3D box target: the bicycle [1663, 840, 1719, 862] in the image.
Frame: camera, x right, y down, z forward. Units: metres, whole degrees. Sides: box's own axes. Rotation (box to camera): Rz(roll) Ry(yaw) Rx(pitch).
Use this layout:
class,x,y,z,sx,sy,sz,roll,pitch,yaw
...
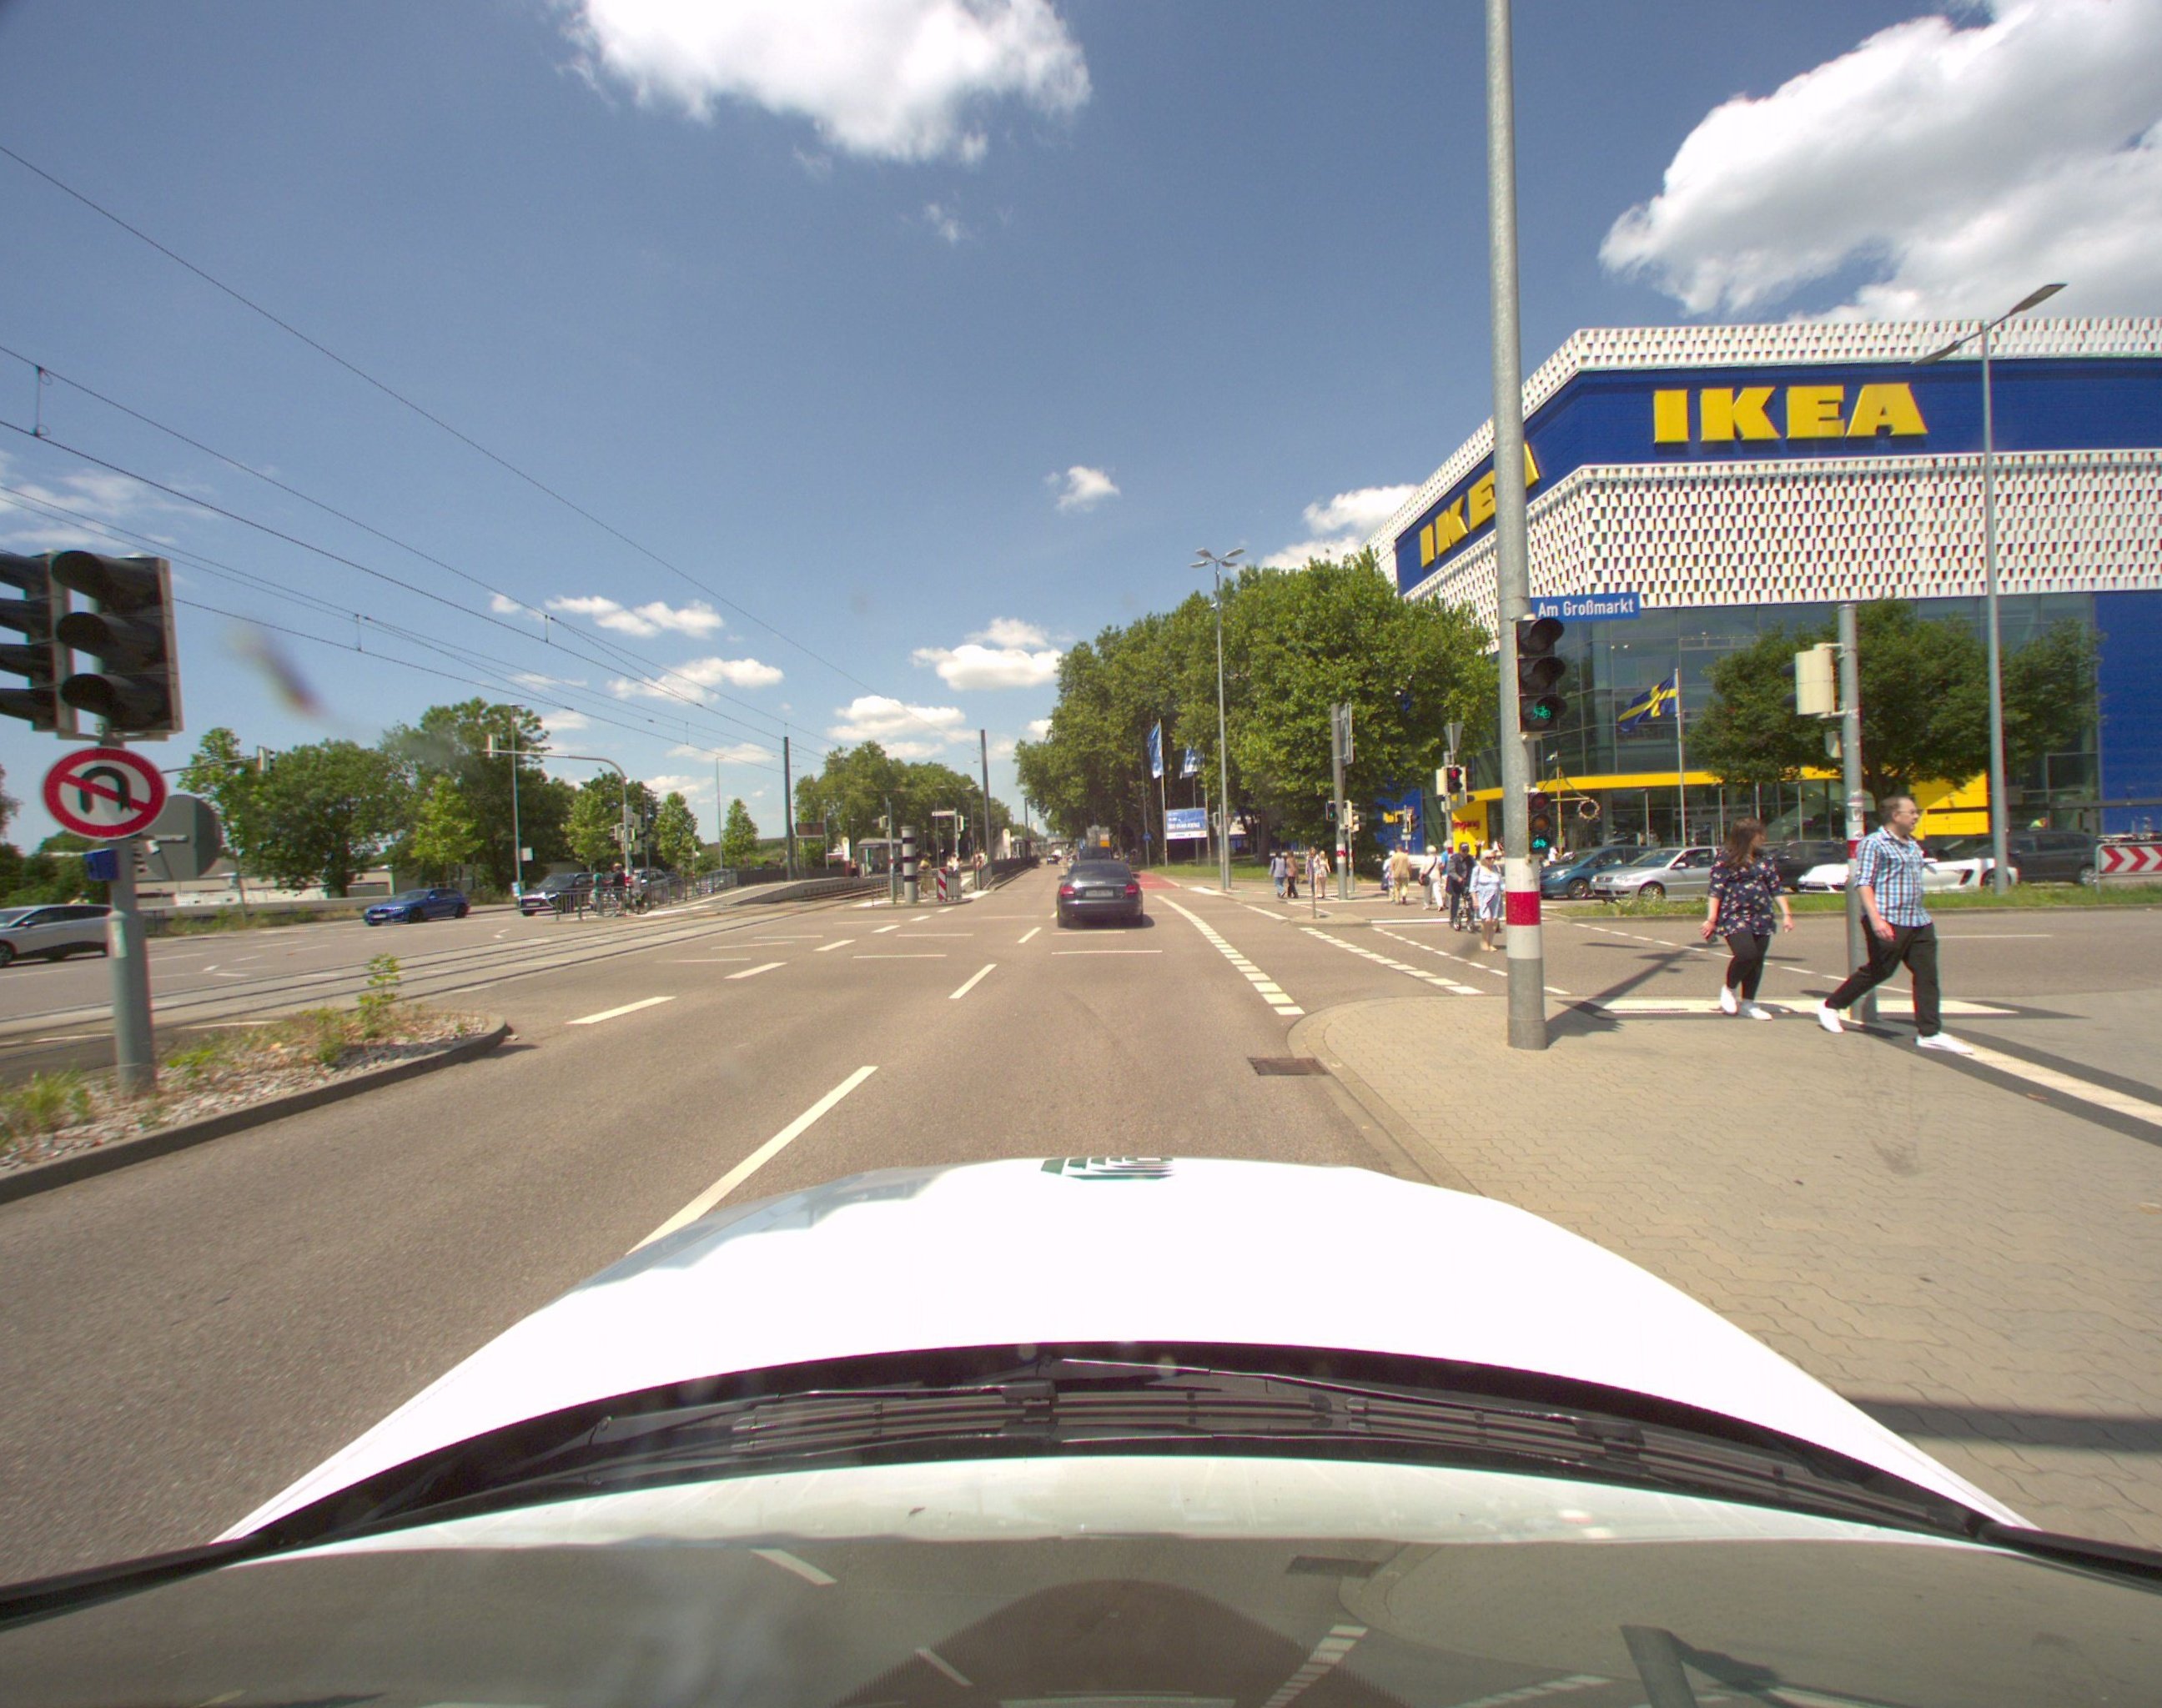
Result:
class,x,y,z,sx,sy,sz,roll,pitch,yaw
bicycle,32.571,-0.142,43.528,0.801,1.145,2.421,-1,0,-14

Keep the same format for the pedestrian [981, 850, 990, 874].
class,x,y,z,sx,sy,sz,roll,pitch,yaw
pedestrian,-6.403,0.537,54.772,0.496,1.577,0.556,-2,0,-3

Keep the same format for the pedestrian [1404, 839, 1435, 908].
class,x,y,z,sx,sy,sz,roll,pitch,yaw
pedestrian,8.329,0.483,20.065,0.601,1.638,0.868,-2,-2,18

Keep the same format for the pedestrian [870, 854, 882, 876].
class,x,y,z,sx,sy,sz,roll,pitch,yaw
pedestrian,-16.836,0.903,66.834,0.729,1.729,0.582,-2,0,36

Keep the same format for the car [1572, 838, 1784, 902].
class,x,y,z,sx,sy,sz,roll,pitch,yaw
car,14.318,0.360,19.683,3.812,1.397,1.803,-1,0,-1

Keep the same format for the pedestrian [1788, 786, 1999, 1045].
class,x,y,z,sx,sy,sz,roll,pitch,yaw
pedestrian,6.213,0.447,6.285,0.800,1.865,0.798,-1,0,3

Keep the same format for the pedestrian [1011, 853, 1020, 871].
class,x,y,z,sx,sy,sz,roll,pitch,yaw
pedestrian,-6.155,0.706,76.617,0.731,1.665,0.741,-2,0,-2

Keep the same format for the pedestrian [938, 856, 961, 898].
class,x,y,z,sx,sy,sz,roll,pitch,yaw
pedestrian,-5.076,0.871,31.466,0.784,1.572,0.763,-1,0,-5

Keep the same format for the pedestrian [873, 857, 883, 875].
class,x,y,z,sx,sy,sz,roll,pitch,yaw
pedestrian,-17.196,1.027,69.036,0.575,1.533,0.639,-2,0,-1

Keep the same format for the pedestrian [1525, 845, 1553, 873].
class,x,y,z,sx,sy,sz,roll,pitch,yaw
pedestrian,22.241,0.247,39.536,0.849,1.332,0.795,-1,0,-8

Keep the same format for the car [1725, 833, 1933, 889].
class,x,y,z,sx,sy,sz,roll,pitch,yaw
car,21.427,0.197,23.441,4.389,1.443,1.852,-1,0,-2

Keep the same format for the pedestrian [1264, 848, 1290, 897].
class,x,y,z,sx,sy,sz,roll,pitch,yaw
pedestrian,6.546,0.611,27.219,0.759,1.606,0.900,-1,0,16

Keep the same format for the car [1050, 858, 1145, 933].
class,x,y,z,sx,sy,sz,roll,pitch,yaw
car,0.476,0.851,18.288,1.833,1.484,4.005,-1,-1,5

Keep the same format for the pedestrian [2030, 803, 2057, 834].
class,x,y,z,sx,sy,sz,roll,pitch,yaw
pedestrian,51.255,-1.874,43.375,0.765,1.586,0.579,-2,0,-7

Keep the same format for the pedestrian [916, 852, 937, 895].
class,x,y,z,sx,sy,sz,roll,pitch,yaw
pedestrian,-6.194,0.766,32.635,0.731,1.673,0.677,-1,0,-5

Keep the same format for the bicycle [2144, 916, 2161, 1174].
class,x,y,z,sx,sy,sz,roll,pitch,yaw
bicycle,5.799,0.875,3.209,0.834,1.162,1.860,0,-1,-31

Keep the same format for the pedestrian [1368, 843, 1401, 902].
class,x,y,z,sx,sy,sz,roll,pitch,yaw
pedestrian,8.773,0.536,23.599,0.789,1.659,0.856,-1,0,16

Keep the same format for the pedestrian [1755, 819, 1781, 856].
class,x,y,z,sx,sy,sz,roll,pitch,yaw
pedestrian,38.644,-0.919,45.819,0.793,2.013,0.734,-2,0,6

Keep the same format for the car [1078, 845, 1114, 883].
class,x,y,z,sx,sy,sz,roll,pitch,yaw
car,0.817,0.517,44.276,1.842,1.959,4.144,-1,0,0

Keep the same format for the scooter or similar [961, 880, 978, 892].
class,x,y,z,sx,sy,sz,roll,pitch,yaw
scooter or similar,-4.902,1.397,35.789,0.725,0.506,0.456,-2,0,-5

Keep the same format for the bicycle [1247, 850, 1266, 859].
class,x,y,z,sx,sy,sz,roll,pitch,yaw
bicycle,24.887,0.075,115.700,2.542,1.110,0.757,-1,0,-7

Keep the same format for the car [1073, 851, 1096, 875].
class,x,y,z,sx,sy,sz,roll,pitch,yaw
car,0.272,0.754,68.444,1.842,1.959,4.144,-1,0,0

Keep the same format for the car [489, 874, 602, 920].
class,x,y,z,sx,sy,sz,roll,pitch,yaw
car,-22.048,1.736,33.758,1.987,1.629,3.999,-2,0,0

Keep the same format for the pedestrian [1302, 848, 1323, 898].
class,x,y,z,sx,sy,sz,roll,pitch,yaw
pedestrian,7.862,0.649,27.664,0.525,1.666,0.640,-1,0,3

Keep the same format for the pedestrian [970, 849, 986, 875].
class,x,y,z,sx,sy,sz,roll,pitch,yaw
pedestrian,-6.655,0.502,52.846,0.888,1.605,0.923,-2,0,-3

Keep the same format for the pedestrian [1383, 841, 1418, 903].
class,x,y,z,sx,sy,sz,roll,pitch,yaw
pedestrian,8.810,0.486,22.478,0.789,1.659,0.856,-1,0,16

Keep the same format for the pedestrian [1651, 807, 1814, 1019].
class,x,y,z,sx,sy,sz,roll,pitch,yaw
pedestrian,5.717,0.495,7.201,0.799,1.759,0.799,-1,0,7

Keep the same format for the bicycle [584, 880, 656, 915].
class,x,y,z,sx,sy,sz,roll,pitch,yaw
bicycle,-15.562,1.463,27.514,1.976,1.101,0.760,-1,0,-17

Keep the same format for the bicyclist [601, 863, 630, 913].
class,x,y,z,sx,sy,sz,roll,pitch,yaw
bicyclist,-15.501,1.112,27.151,0.666,1.615,0.729,-1,0,-17

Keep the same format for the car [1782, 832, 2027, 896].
class,x,y,z,sx,sy,sz,roll,pitch,yaw
car,20.008,0.219,19.919,4.206,1.398,1.803,-1,0,-1

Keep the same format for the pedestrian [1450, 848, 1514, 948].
class,x,y,z,sx,sy,sz,roll,pitch,yaw
pedestrian,6.085,0.648,12.397,0.587,1.476,0.806,0,0,2

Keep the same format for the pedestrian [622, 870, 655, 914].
class,x,y,z,sx,sy,sz,roll,pitch,yaw
pedestrian,-16.124,1.363,29.680,0.760,1.548,0.763,-2,0,-4

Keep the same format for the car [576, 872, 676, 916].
class,x,y,z,sx,sy,sz,roll,pitch,yaw
car,-19.267,1.642,34.718,1.987,1.629,3.999,-1,0,0

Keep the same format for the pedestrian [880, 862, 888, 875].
class,x,y,z,sx,sy,sz,roll,pitch,yaw
pedestrian,-17.153,1.261,70.917,0.575,1.094,0.639,-2,0,-1

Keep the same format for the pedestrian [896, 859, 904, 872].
class,x,y,z,sx,sy,sz,roll,pitch,yaw
pedestrian,-17.483,1.075,78.500,0.575,1.190,0.639,-2,0,-1

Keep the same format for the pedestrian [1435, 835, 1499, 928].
class,x,y,z,sx,sy,sz,roll,pitch,yaw
pedestrian,7.215,0.500,15.251,0.778,1.672,0.948,-1,0,6

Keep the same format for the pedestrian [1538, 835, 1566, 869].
class,x,y,z,sx,sy,sz,roll,pitch,yaw
pedestrian,22.361,-0.088,38.704,0.917,1.586,0.632,-2,0,-7

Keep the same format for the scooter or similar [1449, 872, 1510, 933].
class,x,y,z,sx,sy,sz,roll,pitch,yaw
scooter or similar,7.158,0.852,14.663,0.686,1.031,0.864,-1,0,5

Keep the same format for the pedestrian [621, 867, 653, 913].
class,x,y,z,sx,sy,sz,roll,pitch,yaw
pedestrian,-16.817,1.352,30.868,0.760,1.672,0.763,-2,0,-4

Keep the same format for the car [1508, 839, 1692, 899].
class,x,y,z,sx,sy,sz,roll,pitch,yaw
car,14.582,0.411,23.035,3.978,1.555,1.998,-1,0,-3

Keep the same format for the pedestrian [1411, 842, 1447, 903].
class,x,y,z,sx,sy,sz,roll,pitch,yaw
pedestrian,9.771,0.507,22.913,0.789,1.659,0.856,-1,0,16

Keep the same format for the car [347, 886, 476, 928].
class,x,y,z,sx,sy,sz,roll,pitch,yaw
car,-28.456,2.195,34.809,1.988,1.445,4.346,-1,0,-2

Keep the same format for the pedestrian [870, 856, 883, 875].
class,x,y,z,sx,sy,sz,roll,pitch,yaw
pedestrian,-17.177,0.964,68.371,0.817,1.638,0.582,-2,0,36

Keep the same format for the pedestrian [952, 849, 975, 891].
class,x,y,z,sx,sy,sz,roll,pitch,yaw
pedestrian,-5.125,0.691,35.572,0.861,1.802,0.882,-1,0,-5

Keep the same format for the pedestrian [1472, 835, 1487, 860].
class,x,y,z,sx,sy,sz,roll,pitch,yaw
pedestrian,28.143,-0.432,57.523,0.775,1.735,0.743,-2,0,11

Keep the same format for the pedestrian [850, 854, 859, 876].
class,x,y,z,sx,sy,sz,roll,pitch,yaw
pedestrian,-17.060,0.809,61.345,0.557,1.638,0.804,-2,0,-9

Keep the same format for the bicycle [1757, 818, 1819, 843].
class,x,y,z,sx,sy,sz,roll,pitch,yaw
bicycle,37.489,-1.237,43.231,0.801,1.199,2.421,-2,0,-14

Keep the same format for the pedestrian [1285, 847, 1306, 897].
class,x,y,z,sx,sy,sz,roll,pitch,yaw
pedestrian,7.324,0.617,27.805,0.618,1.683,0.729,-1,0,16

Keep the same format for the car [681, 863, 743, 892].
class,x,y,z,sx,sy,sz,roll,pitch,yaw
car,-22.746,1.408,50.381,1.987,1.629,3.999,-1,0,0

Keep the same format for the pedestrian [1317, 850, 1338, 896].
class,x,y,z,sx,sy,sz,roll,pitch,yaw
pedestrian,8.499,0.644,28.079,0.525,1.580,0.612,-1,0,3

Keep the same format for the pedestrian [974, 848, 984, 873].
class,x,y,z,sx,sy,sz,roll,pitch,yaw
pedestrian,-7.023,0.447,56.063,0.612,1.681,0.719,-1,0,-3

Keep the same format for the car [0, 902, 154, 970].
class,x,y,z,sx,sy,sz,roll,pitch,yaw
car,-27.623,2.138,21.246,1.988,1.463,4.275,-1,0,-2

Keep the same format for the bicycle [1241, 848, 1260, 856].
class,x,y,z,sx,sy,sz,roll,pitch,yaw
bicycle,24.475,-0.342,117.802,2.542,1.110,0.757,-1,0,-7

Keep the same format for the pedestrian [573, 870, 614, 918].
class,x,y,z,sx,sy,sz,roll,pitch,yaw
pedestrian,-17.021,1.397,28.460,0.954,1.610,0.763,-2,0,-4

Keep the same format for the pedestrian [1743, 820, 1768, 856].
class,x,y,z,sx,sy,sz,roll,pitch,yaw
pedestrian,38.736,-0.913,46.755,0.792,2.013,0.735,-2,0,11

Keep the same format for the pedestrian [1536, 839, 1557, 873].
class,x,y,z,sx,sy,sz,roll,pitch,yaw
pedestrian,22.598,0.102,39.543,0.609,1.586,0.632,-2,0,-7

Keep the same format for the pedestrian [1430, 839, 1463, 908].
class,x,y,z,sx,sy,sz,roll,pitch,yaw
pedestrian,8.929,0.473,19.916,0.597,1.638,0.868,-2,-2,18

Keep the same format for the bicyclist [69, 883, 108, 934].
class,x,y,z,sx,sy,sz,roll,pitch,yaw
bicyclist,-32.845,1.800,26.947,0.583,1.610,0.545,-2,0,5

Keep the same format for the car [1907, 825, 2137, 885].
class,x,y,z,sx,sy,sz,roll,pitch,yaw
car,26.755,0.030,23.269,4.384,1.584,1.863,-1,0,1
